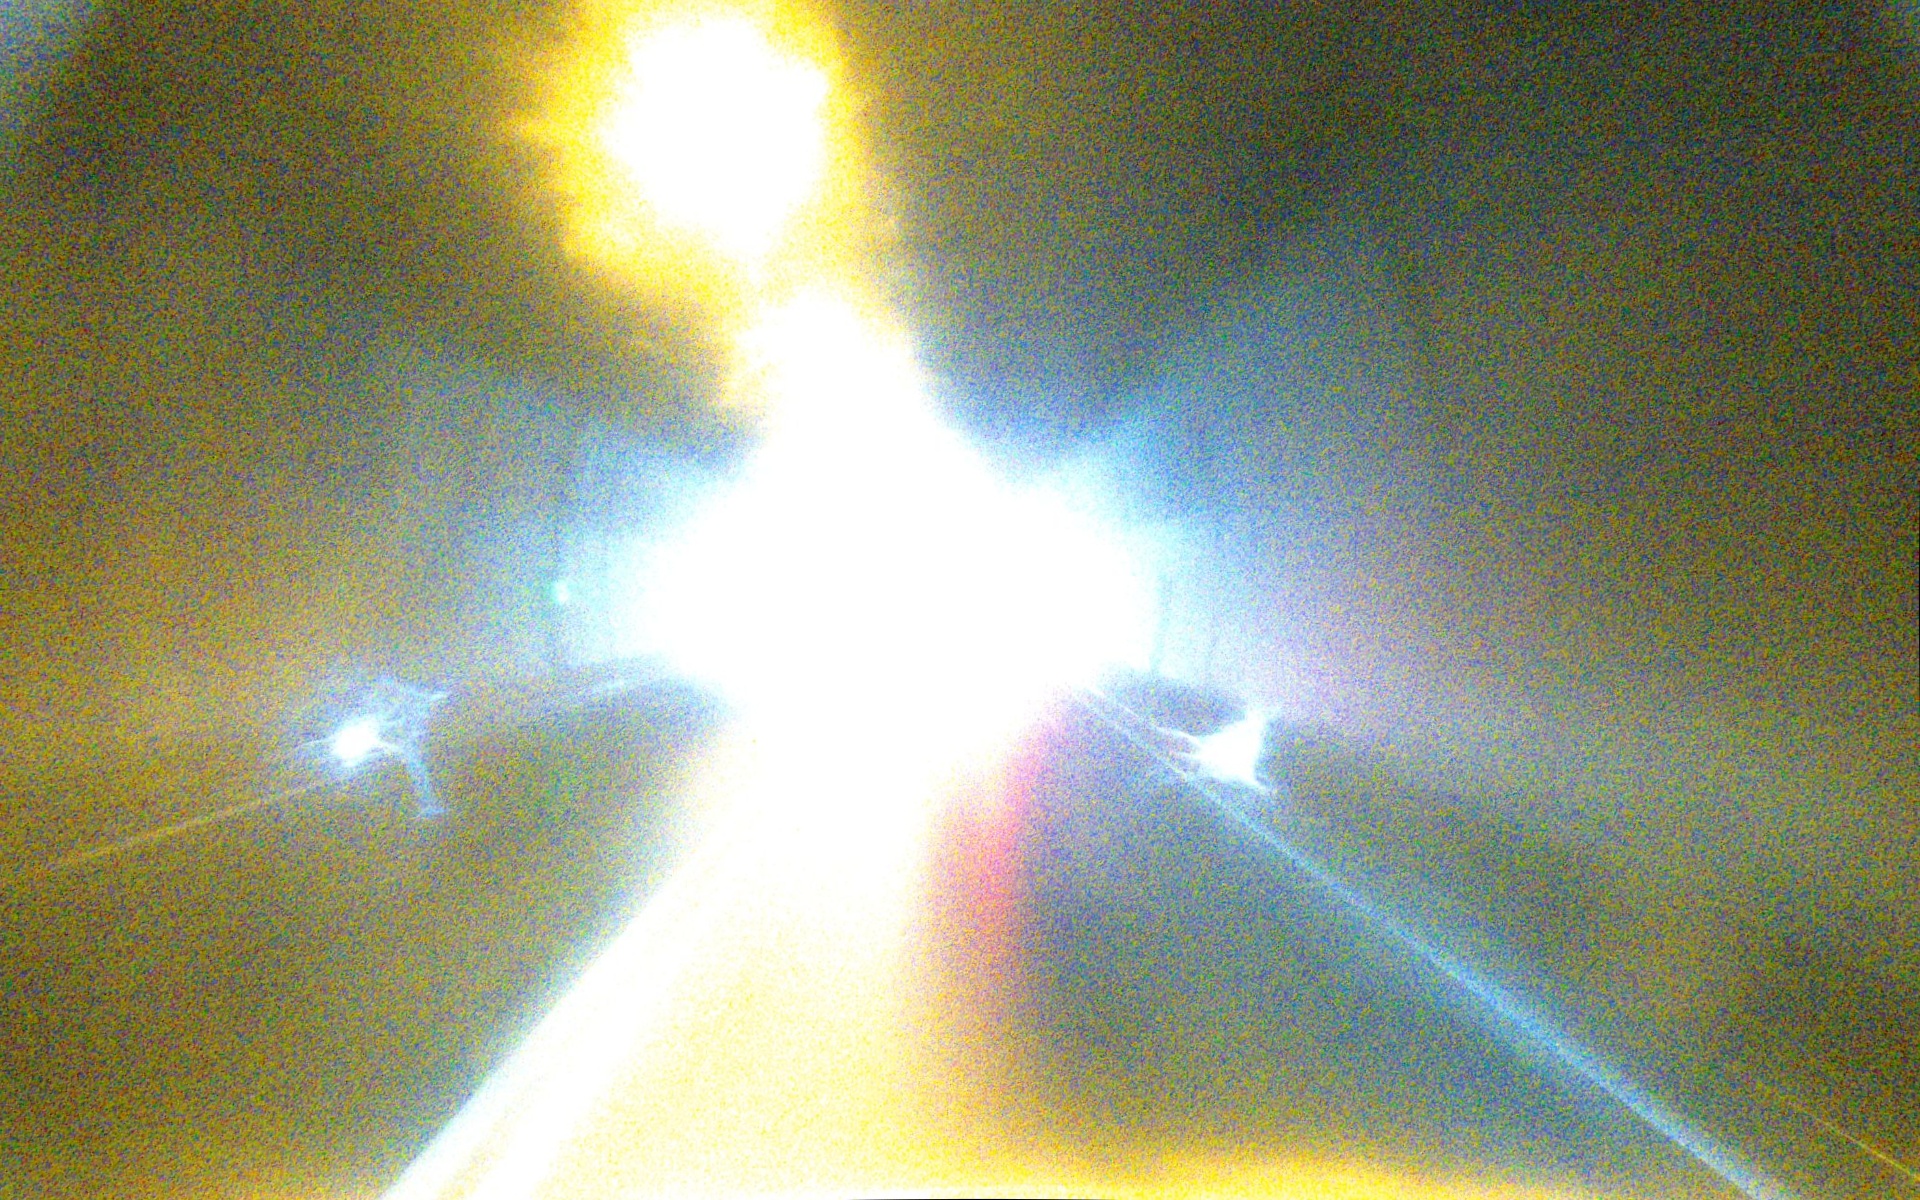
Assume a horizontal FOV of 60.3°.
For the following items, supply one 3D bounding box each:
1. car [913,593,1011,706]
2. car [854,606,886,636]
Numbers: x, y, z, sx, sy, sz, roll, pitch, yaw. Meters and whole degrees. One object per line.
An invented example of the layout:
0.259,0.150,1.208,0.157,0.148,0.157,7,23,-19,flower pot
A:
0.030,0.794,29.009,1.602,1.788,4.146,0,1,0,car
-5.150,1.177,95.326,1.602,1.630,4.146,0,1,0,car
